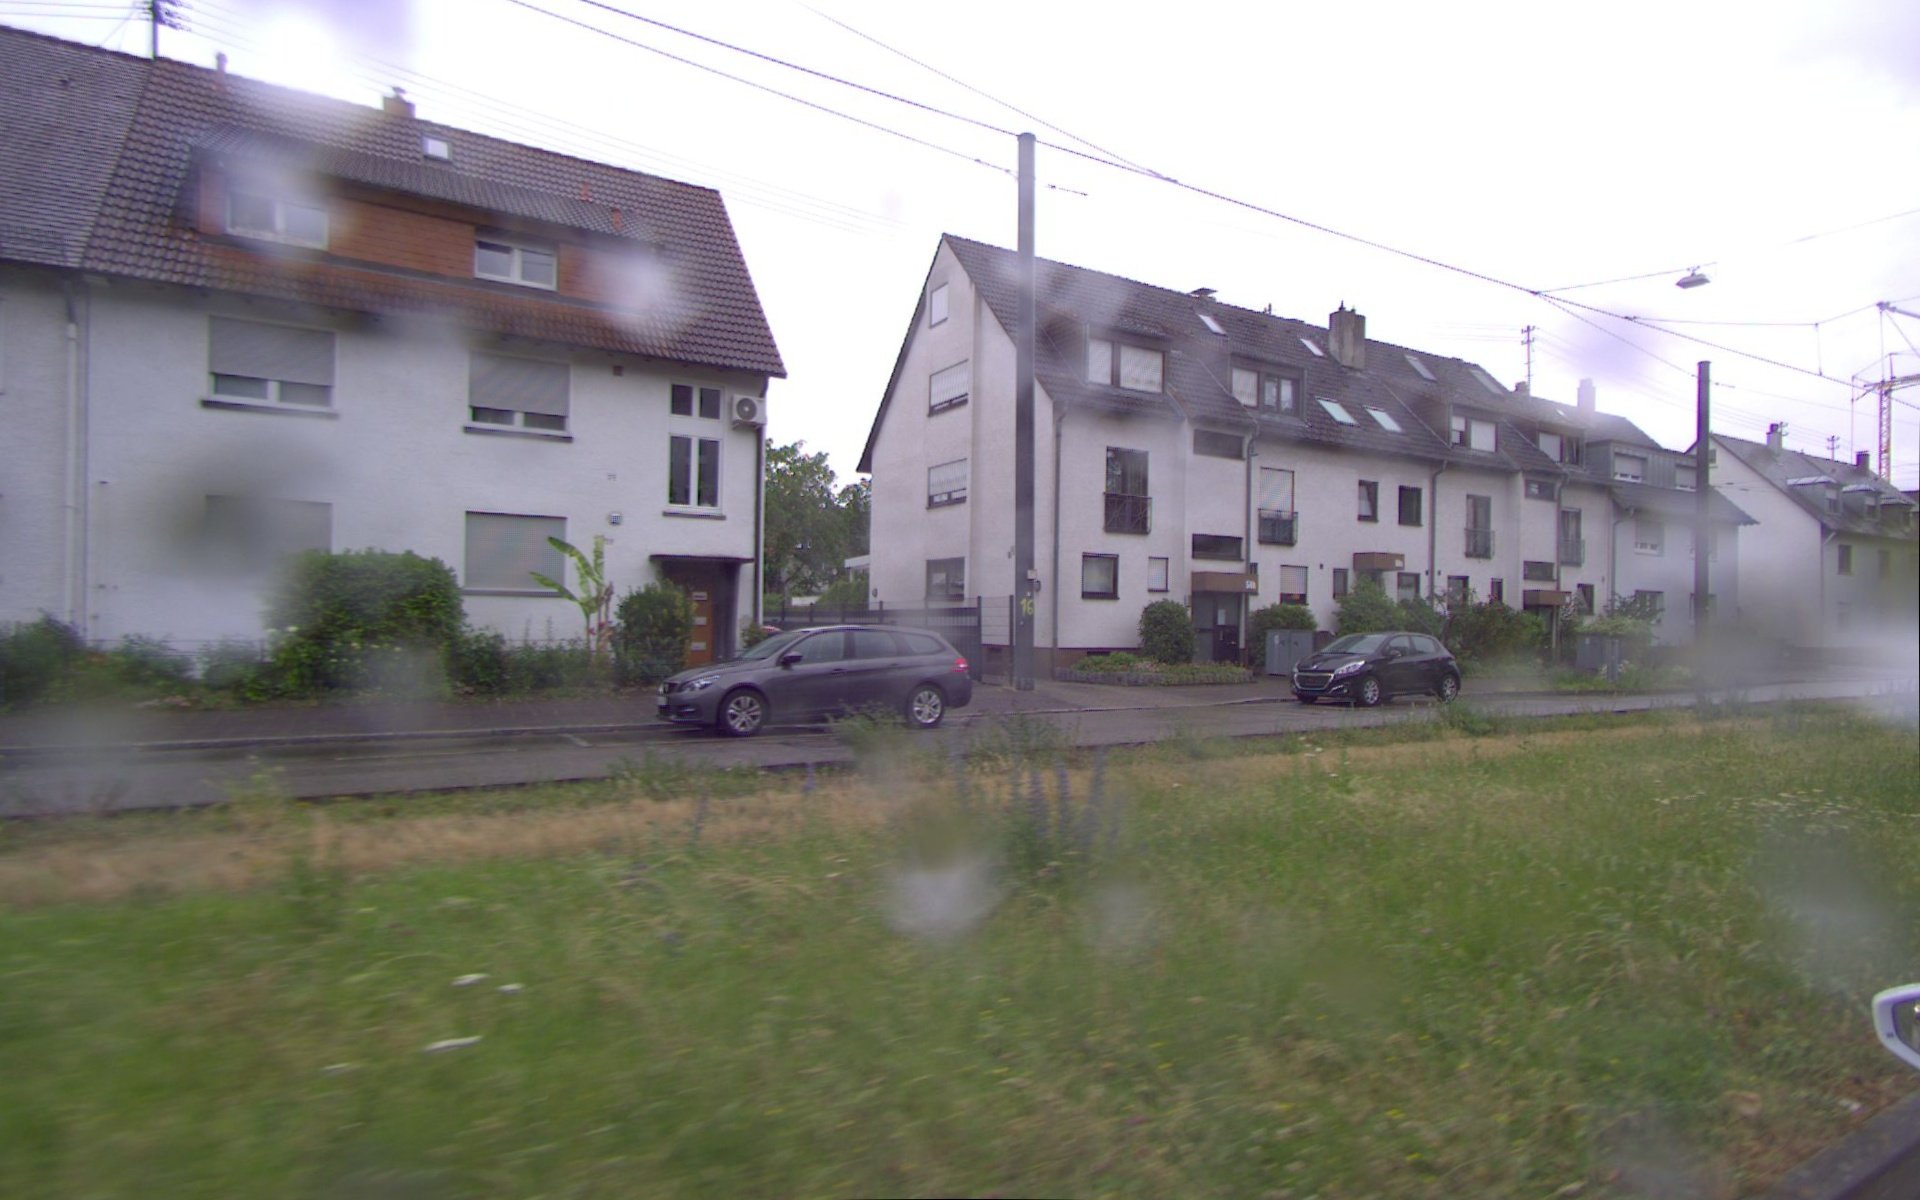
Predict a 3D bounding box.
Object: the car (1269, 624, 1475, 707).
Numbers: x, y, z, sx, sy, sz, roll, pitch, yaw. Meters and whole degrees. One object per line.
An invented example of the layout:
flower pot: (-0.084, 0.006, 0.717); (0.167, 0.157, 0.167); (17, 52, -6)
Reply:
car: (8.560, 1.372, 20.793); (4.087, 1.523, 1.867); (4, -2, -31)

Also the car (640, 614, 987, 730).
car: (-2.010, 1.039, 14.357); (4.613, 1.442, 1.593); (4, -2, -30)
